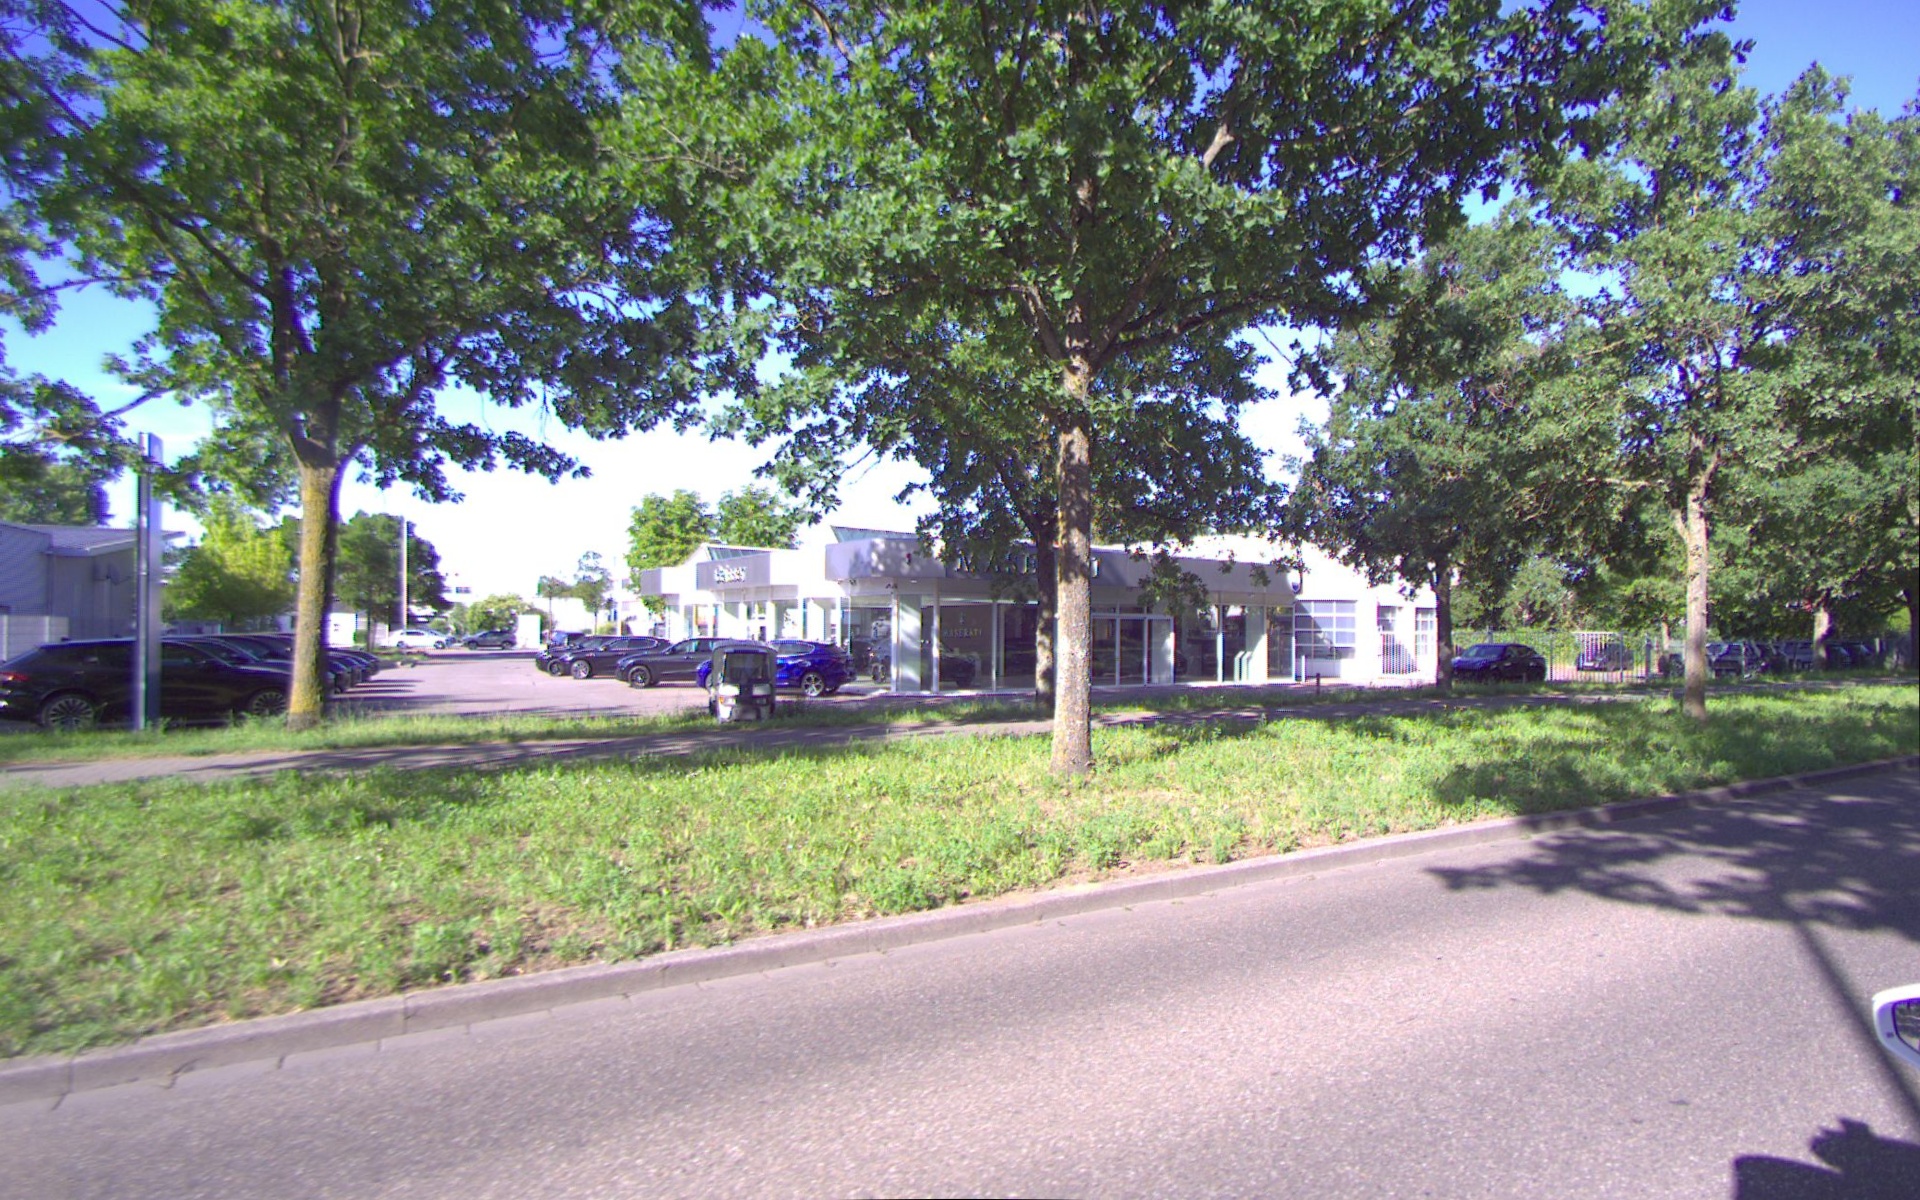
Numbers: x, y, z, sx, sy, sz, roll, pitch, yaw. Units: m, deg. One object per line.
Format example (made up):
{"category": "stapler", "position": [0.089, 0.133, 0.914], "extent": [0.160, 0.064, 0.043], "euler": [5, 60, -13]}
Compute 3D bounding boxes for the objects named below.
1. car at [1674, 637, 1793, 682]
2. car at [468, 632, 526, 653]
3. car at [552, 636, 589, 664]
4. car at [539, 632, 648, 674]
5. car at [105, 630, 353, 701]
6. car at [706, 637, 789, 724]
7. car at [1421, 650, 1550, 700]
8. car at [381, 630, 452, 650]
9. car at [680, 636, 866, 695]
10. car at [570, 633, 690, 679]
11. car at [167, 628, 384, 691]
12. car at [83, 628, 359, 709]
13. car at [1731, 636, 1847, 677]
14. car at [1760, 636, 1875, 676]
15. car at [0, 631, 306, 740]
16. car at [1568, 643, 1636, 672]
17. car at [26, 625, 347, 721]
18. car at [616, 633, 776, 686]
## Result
{"category": "car", "position": [35.653, 2.705, 46.358], "extent": [1.982, 1.825, 3.957], "euler": [2, 0, -38]}
{"category": "car", "position": [-40.050, 3.657, 86.920], "extent": [4.461, 1.683, 1.986], "euler": [1, -1, -27]}
{"category": "car", "position": [-27.805, 3.532, 71.655], "extent": [1.975, 1.772, 3.971], "euler": [2, 0, -28]}
{"category": "car", "position": [-15.556, 2.255, 42.855], "extent": [4.238, 1.683, 1.993], "euler": [1, -1, -17]}
{"category": "car", "position": [-19.658, 1.685, 27.187], "extent": [5.222, 1.683, 1.975], "euler": [2, 0, -43]}
{"category": "car", "position": [-3.998, 1.455, 18.848], "extent": [1.401, 1.489, 2.569], "euler": [1, -2, -13]}
{"category": "car", "position": [19.344, 2.689, 36.922], "extent": [4.959, 1.619, 1.983], "euler": [2, 0, -32]}
{"category": "car", "position": [-47.574, 3.463, 88.120], "extent": [5.361, 1.683, 1.986], "euler": [1, -1, -27]}
{"category": "car", "position": [-5.620, 1.946, 30.464], "extent": [5.153, 1.683, 2.001], "euler": [0, 0, 8]}
{"category": "car", "position": [-12.983, 2.200, 39.717], "extent": [4.230, 1.683, 1.996], "euler": [1, -1, -10]}
{"category": "car", "position": [-20.707, 1.739, 30.558], "extent": [5.222, 1.683, 1.975], "euler": [2, 0, -43]}
{"category": "car", "position": [-17.819, 1.572, 24.420], "extent": [5.222, 1.712, 1.975], "euler": [2, 0, -43]}
{"category": "car", "position": [41.905, 2.815, 50.881], "extent": [1.981, 1.825, 4.161], "euler": [2, 0, -35]}
{"category": "car", "position": [44.440, 2.870, 52.137], "extent": [1.981, 1.825, 4.161], "euler": [2, 0, -35]}
{"category": "car", "position": [-14.993, 1.468, 18.622], "extent": [1.972, 1.697, 4.472], "euler": [1, 0, 44]}
{"category": "car", "position": [39.201, 3.473, 61.284], "extent": [4.841, 1.587, 1.979], "euler": [2, 0, -38]}
{"category": "car", "position": [-16.308, 1.452, 21.423], "extent": [5.226, 1.740, 1.973], "euler": [2, 0, -45]}
{"category": "car", "position": [-8.825, 1.974, 33.898], "extent": [4.913, 1.683, 1.999], "euler": [0, 0, -3]}
